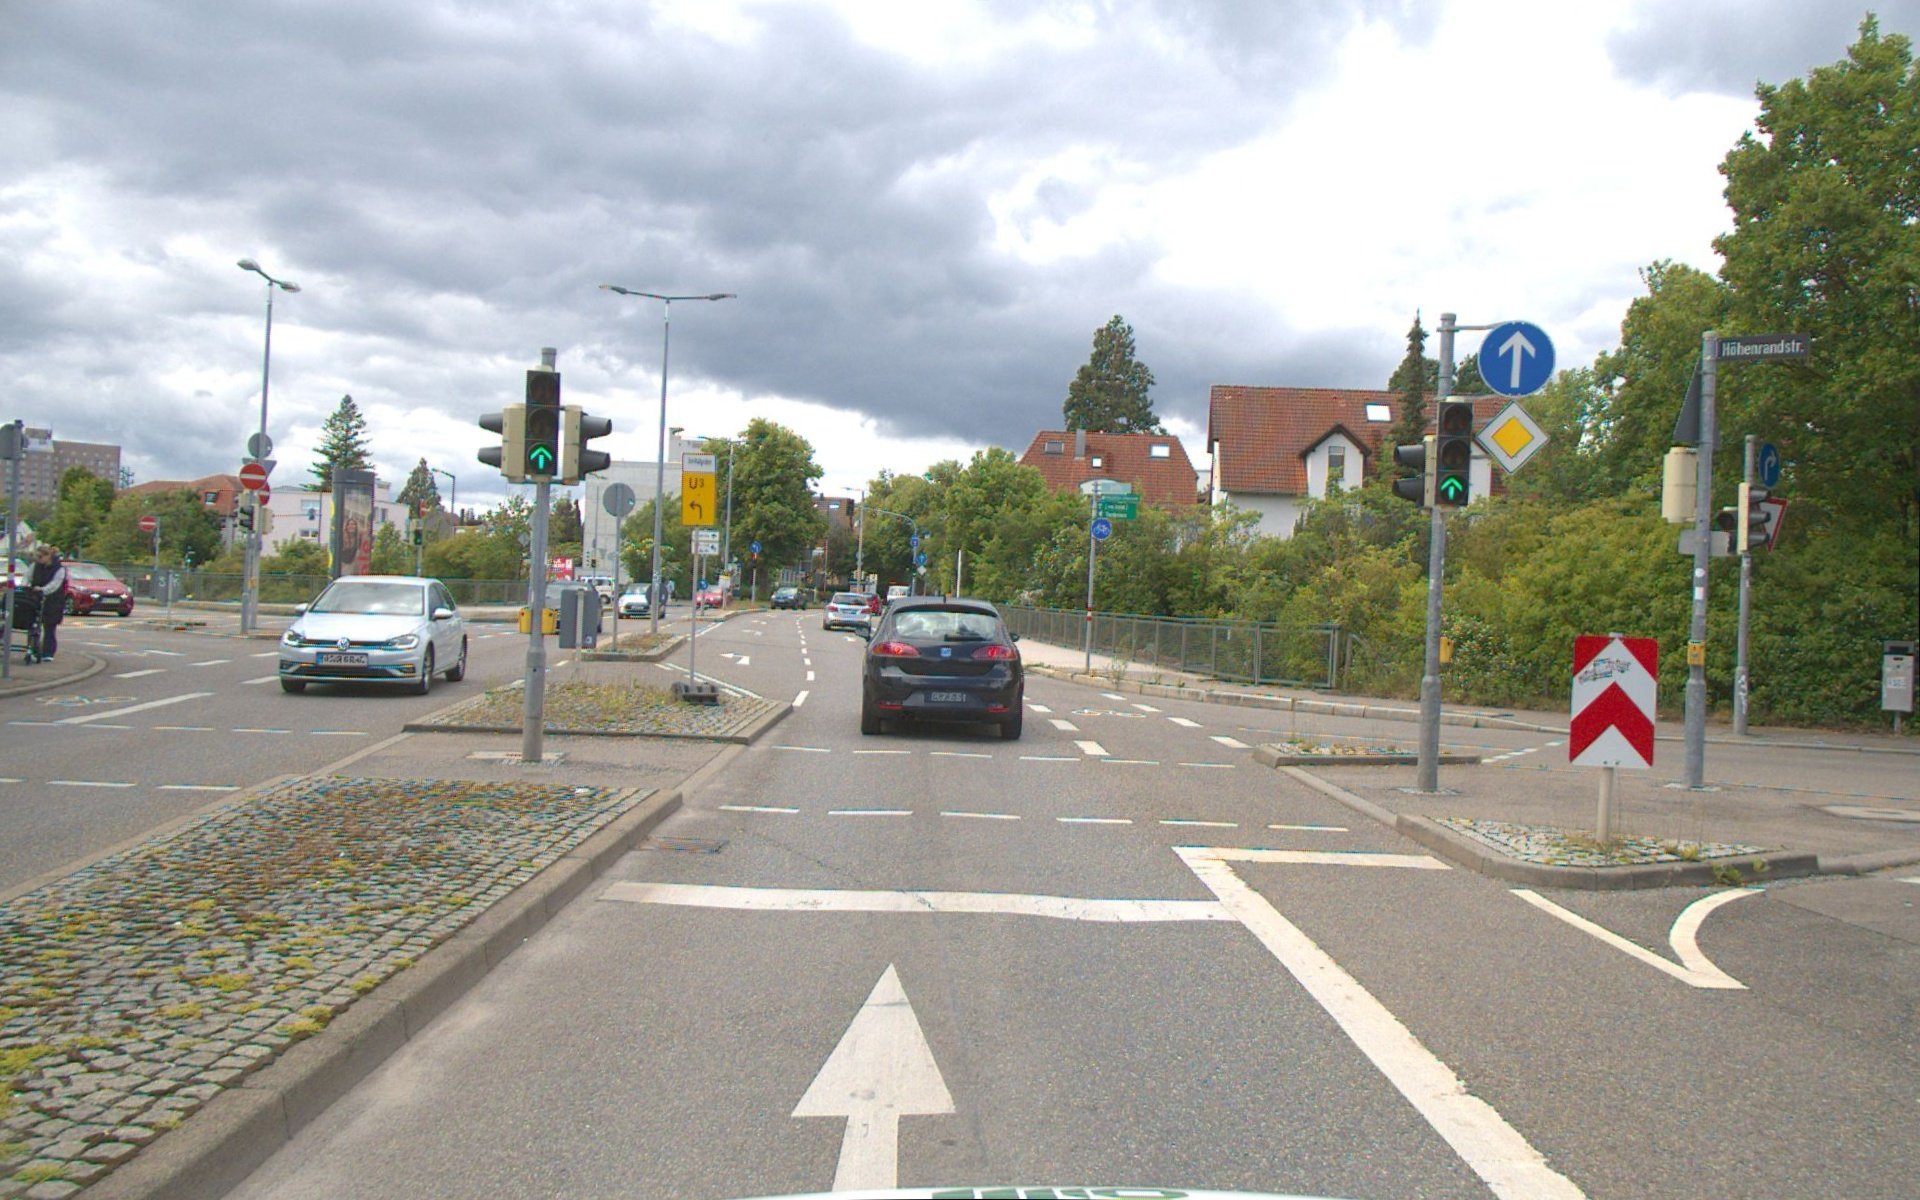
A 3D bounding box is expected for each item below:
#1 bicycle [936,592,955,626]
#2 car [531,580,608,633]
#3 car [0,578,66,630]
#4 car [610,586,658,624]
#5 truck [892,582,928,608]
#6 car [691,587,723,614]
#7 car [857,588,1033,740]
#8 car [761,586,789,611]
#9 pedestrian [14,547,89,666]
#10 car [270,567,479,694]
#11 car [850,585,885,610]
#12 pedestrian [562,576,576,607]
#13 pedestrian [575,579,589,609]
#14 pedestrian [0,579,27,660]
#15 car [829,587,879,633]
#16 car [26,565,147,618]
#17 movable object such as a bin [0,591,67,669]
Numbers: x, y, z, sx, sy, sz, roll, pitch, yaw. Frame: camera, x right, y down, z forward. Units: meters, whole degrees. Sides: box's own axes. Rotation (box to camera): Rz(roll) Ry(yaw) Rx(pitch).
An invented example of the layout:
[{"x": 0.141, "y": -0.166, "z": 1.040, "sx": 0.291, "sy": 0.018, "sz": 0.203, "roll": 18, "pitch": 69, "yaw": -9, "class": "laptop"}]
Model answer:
[{"x": -0.689, "y": 0.410, "z": 78.776, "sx": 0.873, "sy": 1.537, "sz": 2.783, "roll": 2, "pitch": 0, "yaw": 0, "class": "bicycle"}, {"x": -10.813, "y": 0.169, "z": 46.006, "sx": 1.688, "sy": 1.415, "sz": 3.911, "roll": 1, "pitch": 0, "yaw": -7, "class": "car"}, {"x": -29.723, "y": 0.116, "z": 51.973, "sx": 4.057, "sy": 1.562, "sz": 1.637, "roll": 0, "pitch": 0, "yaw": 43, "class": "car"}, {"x": -13.485, "y": 0.196, "z": 68.601, "sx": 1.612, "sy": 1.433, "sz": 3.813, "roll": 3, "pitch": 0, "yaw": -7, "class": "car"}, {"x": -4.735, "y": -0.465, "z": 159.066, "sx": 2.080, "sy": 2.304, "sz": 6.811, "roll": 2, "pitch": 0, "yaw": 10, "class": "truck"}, {"x": -14.546, "y": 0.031, "z": 95.151, "sx": 1.688, "sy": 1.473, "sz": 4.060, "roll": 3, "pitch": 0, "yaw": -7, "class": "car"}, {"x": -0.216, "y": 0.634, "z": 18.437, "sx": 1.724, "sy": 1.474, "sz": 3.713, "roll": 2, "pitch": 0, "yaw": -2, "class": "car"}, {"x": -12.968, "y": -0.111, "z": 115.654, "sx": 1.788, "sy": 1.655, "sz": 4.272, "roll": 3, "pitch": 0, "yaw": -7, "class": "car"}, {"x": -12.589, "y": 0.082, "z": 22.929, "sx": 0.521, "sy": 1.569, "sz": 0.730, "roll": 7, "pitch": -1, "yaw": -8, "class": "pedestrian"}, {"x": -7.613, "y": 0.364, "z": 21.869, "sx": 1.764, "sy": 1.469, "sz": 3.942, "roll": 2, "pitch": 0, "yaw": -7, "class": "car"}, {"x": -6.017, "y": -0.155, "z": 107.308, "sx": 1.905, "sy": 1.507, "sz": 4.246, "roll": 2, "pitch": 0, "yaw": -8, "class": "car"}, {"x": -22.229, "y": -0.485, "z": 93.985, "sx": 0.644, "sy": 1.662, "sz": 0.830, "roll": 4, "pitch": -1, "yaw": -12, "class": "pedestrian"}, {"x": -21.482, "y": -0.362, "z": 94.103, "sx": 0.644, "sy": 1.662, "sz": 1.068, "roll": 4, "pitch": -1, "yaw": -12, "class": "pedestrian"}, {"x": -13.307, "y": 0.266, "z": 23.015, "sx": 0.319, "sy": 1.080, "sz": 0.443, "roll": 5, "pitch": -1, "yaw": -7, "class": "pedestrian"}, {"x": -4.200, "y": 0.363, "z": 65.024, "sx": 1.783, "sy": 1.729, "sz": 4.248, "roll": 2, "pitch": 0, "yaw": -5, "class": "car"}, {"x": -25.421, "y": -0.243, "z": 48.109, "sx": 3.631, "sy": 1.472, "sz": 1.767, "roll": 1, "pitch": 0, "yaw": 38, "class": "car"}, {"x": -12.472, "y": 0.389, "z": 22.137, "sx": 0.488, "sy": 0.976, "sz": 0.985, "roll": 6, "pitch": -1, "yaw": -8, "class": "movable object such as a bin"}]
